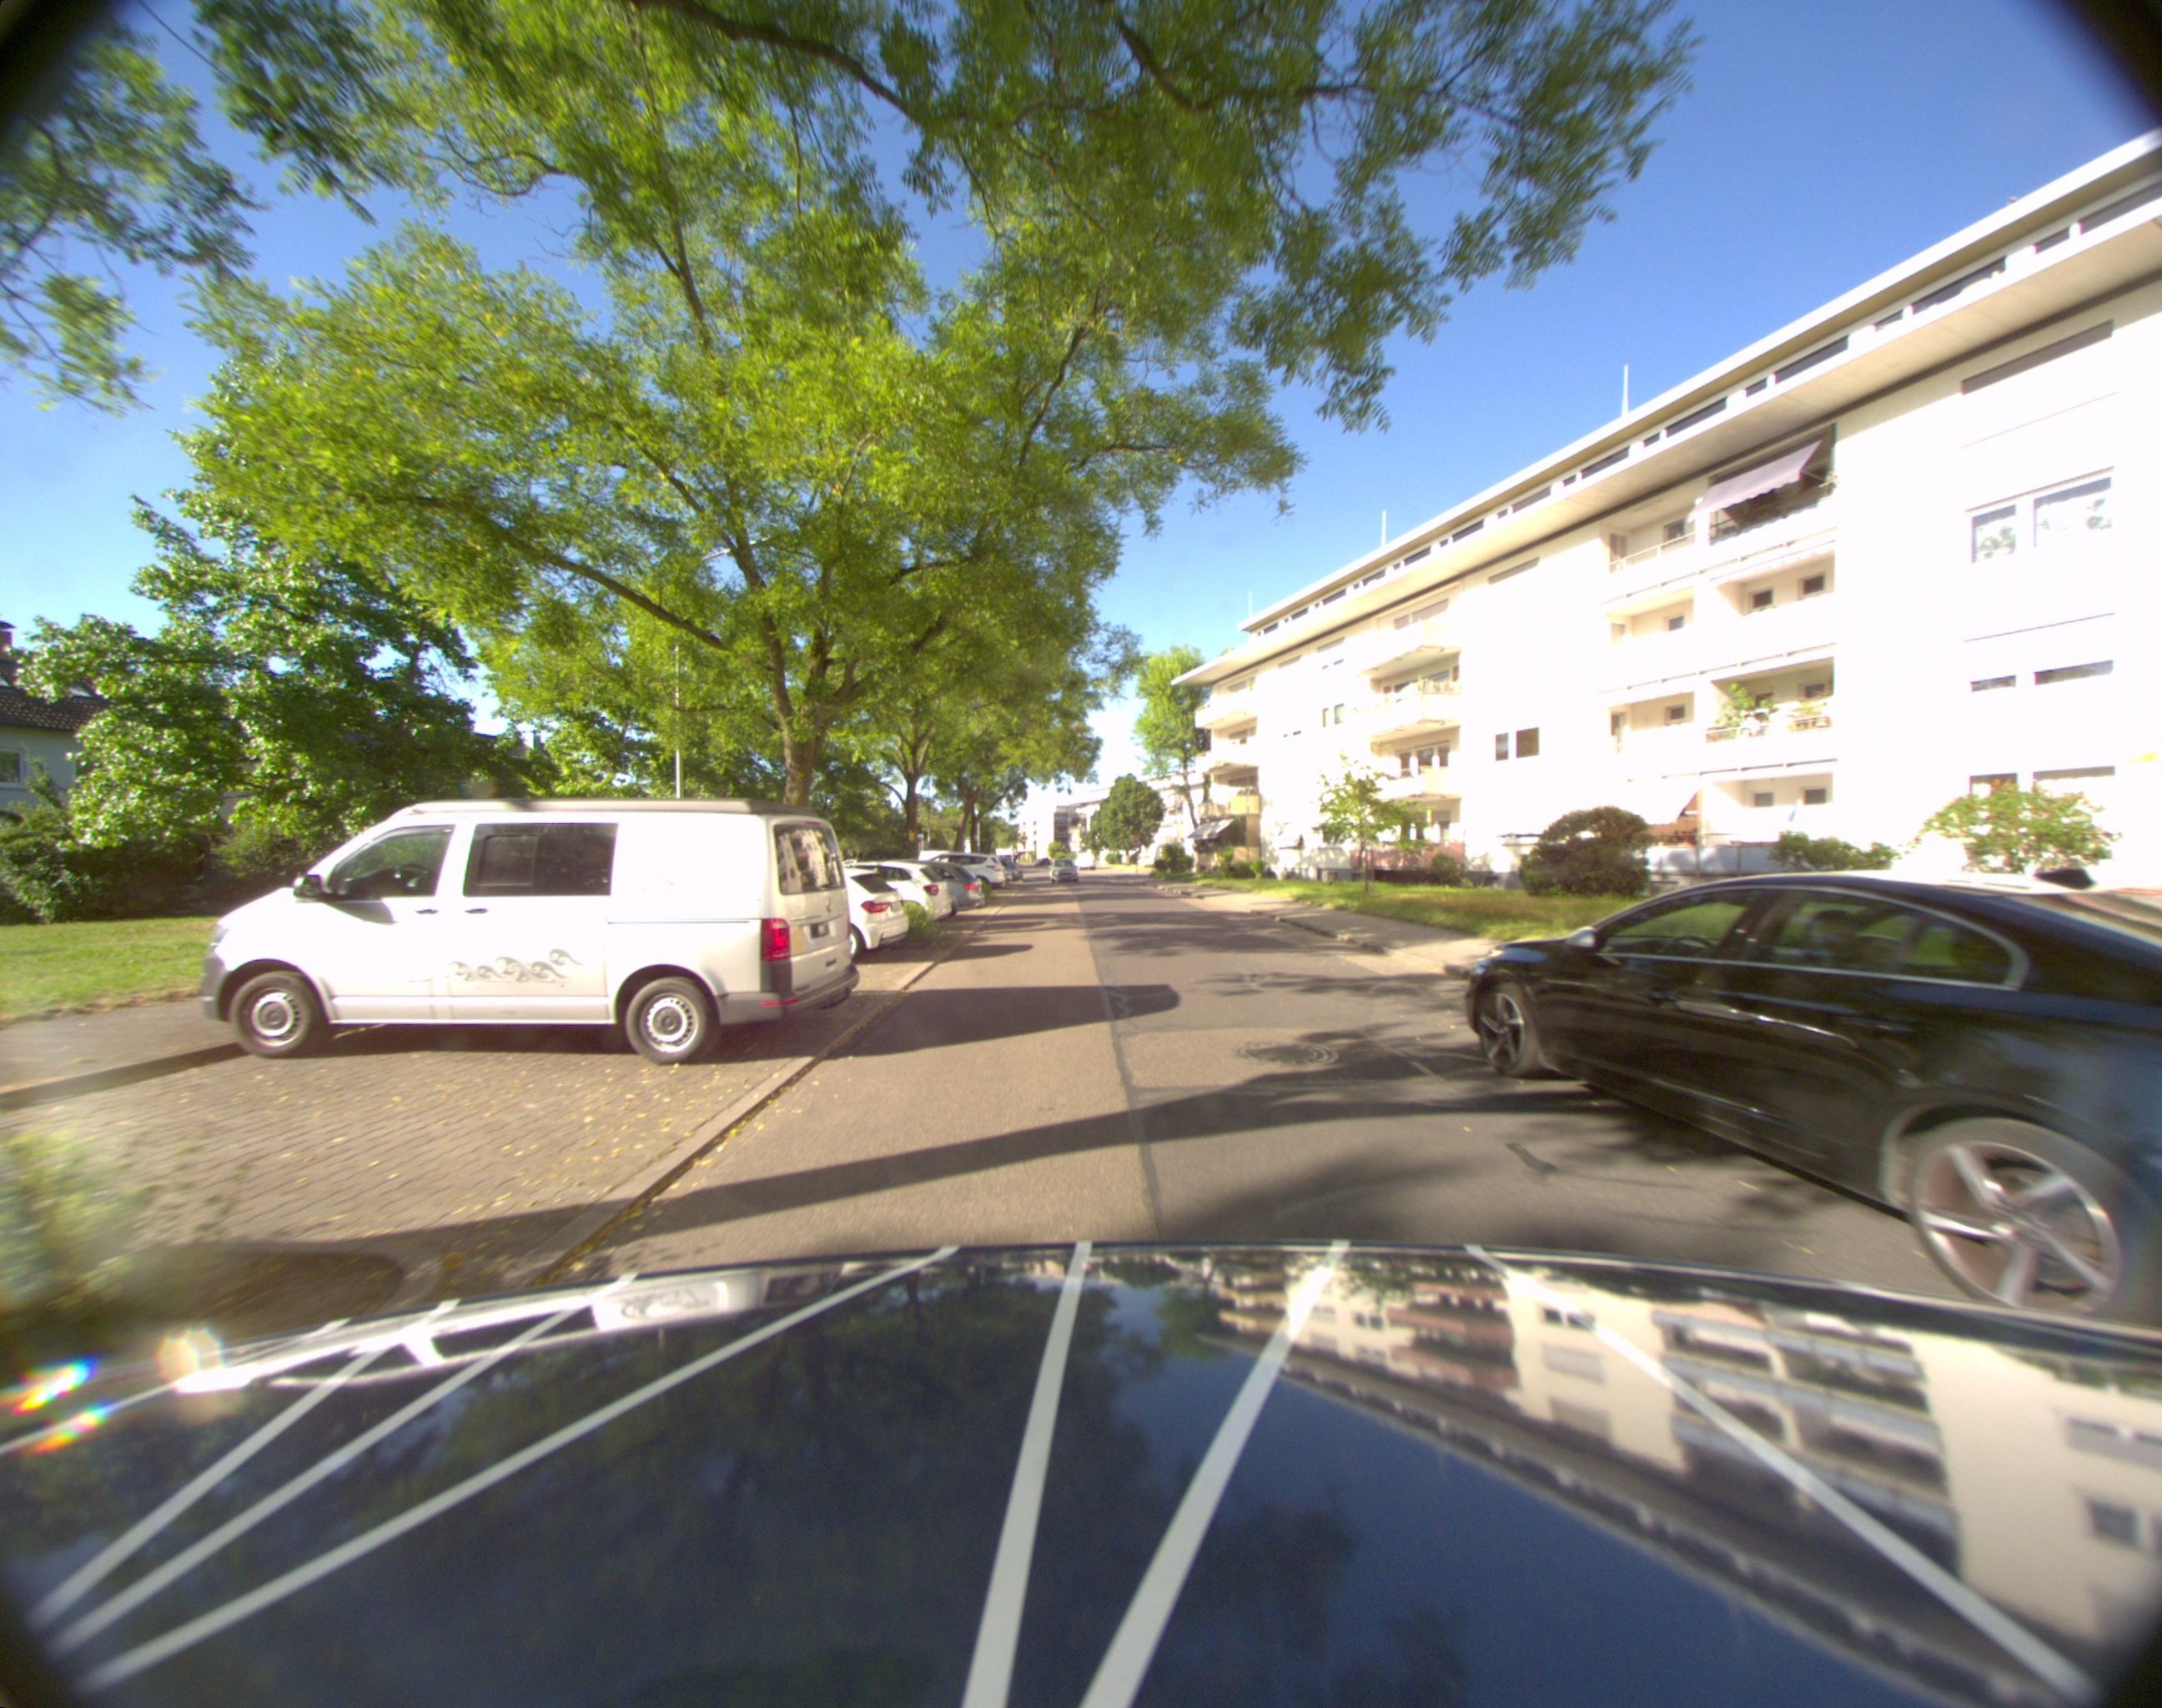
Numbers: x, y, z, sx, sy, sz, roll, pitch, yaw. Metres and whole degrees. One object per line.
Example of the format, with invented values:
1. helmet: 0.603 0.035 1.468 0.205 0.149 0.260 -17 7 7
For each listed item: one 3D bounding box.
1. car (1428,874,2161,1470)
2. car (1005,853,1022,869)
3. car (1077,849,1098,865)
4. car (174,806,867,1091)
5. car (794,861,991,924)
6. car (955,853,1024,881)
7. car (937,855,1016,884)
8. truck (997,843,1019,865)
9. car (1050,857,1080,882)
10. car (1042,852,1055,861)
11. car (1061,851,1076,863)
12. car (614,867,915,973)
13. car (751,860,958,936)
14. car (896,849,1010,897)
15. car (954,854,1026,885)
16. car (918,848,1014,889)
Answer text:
1. car: 3.788 0.918 3.740 1.845 1.473 4.799 1 0 -2
2. car: -7.415 0.735 83.099 1.774 1.606 4.049 2 0 -6
3. car: 0.772 0.337 89.900 2.007 1.837 4.614 -2 1 -4
4. car: -4.378 0.681 6.527 4.462 2.005 2.021 1 0 1
5. car: -4.577 0.934 18.957 4.492 1.463 1.745 0 0 -2
6. car: -5.571 0.791 46.637 4.053 1.544 1.744 2 0 -4
7. car: -5.624 0.827 41.338 4.151 1.400 1.744 2 0 -4
8. truck: -9.927 -0.003 102.906 2.764 2.785 8.262 2 0 -6
9. car: -1.062 0.990 49.174 1.597 1.417 4.168 2 0 -5
10. car: -5.851 0.499 137.270 1.795 1.535 4.048 -3 1 -10
11. car: -1.823 0.400 108.650 1.694 1.661 4.049 -1 0 -6
12. car: -4.701 0.945 11.621 3.916 1.427 1.636 1 0 3
13. car: -4.755 0.900 16.330 3.917 1.427 1.636 2 0 1
14. car: -4.816 0.698 28.953 4.052 1.754 1.745 0 0 -2
15. car: -5.272 0.876 44.438 4.053 1.649 1.744 -2 1 -4
16. car: -5.496 0.666 36.557 4.446 1.910 1.744 0 1 -7
